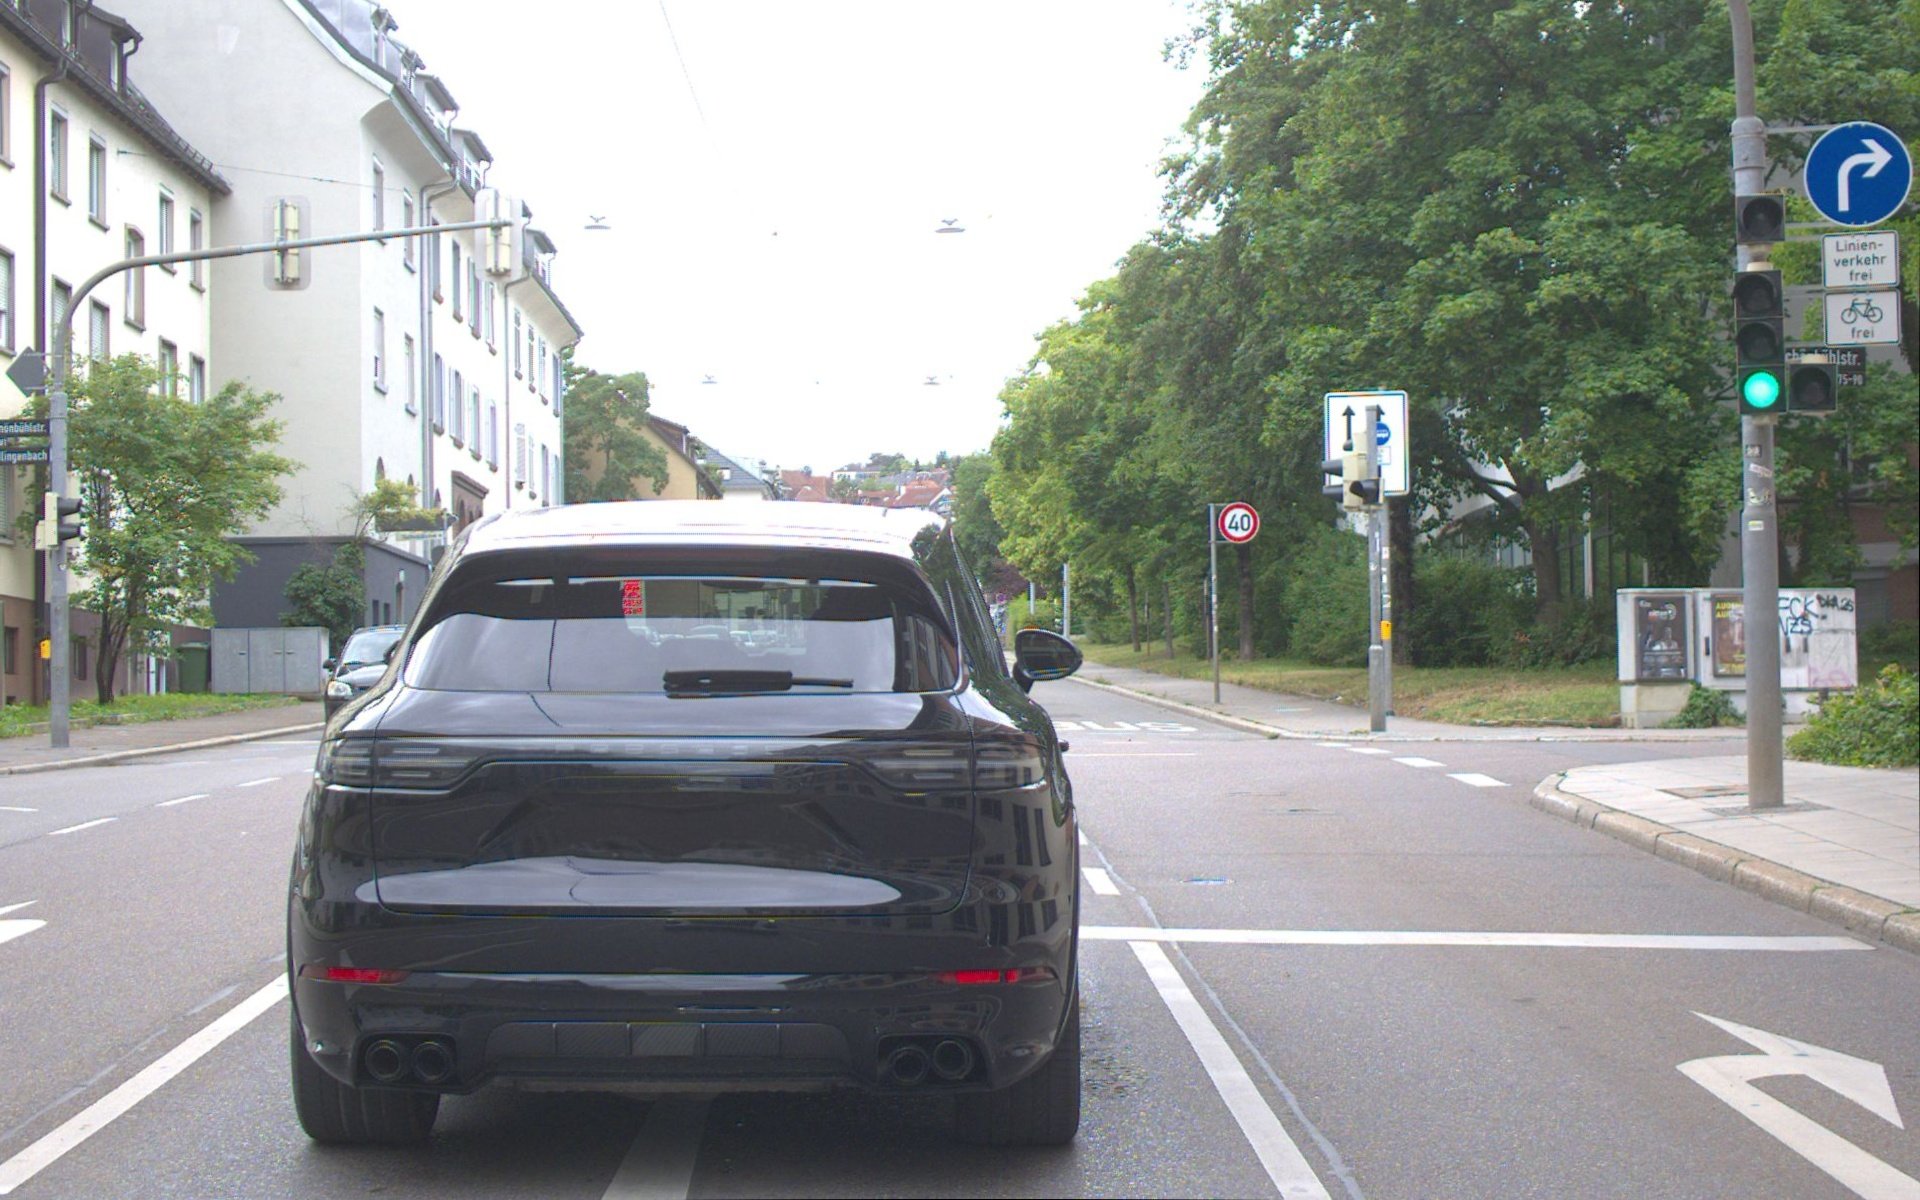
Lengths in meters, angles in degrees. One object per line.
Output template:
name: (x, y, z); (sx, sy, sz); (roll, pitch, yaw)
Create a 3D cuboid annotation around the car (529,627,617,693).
car: (-8.660, 1.325, 77.112); (1.670, 1.357, 4.000); (0, 1, -2)

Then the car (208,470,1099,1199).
car: (-0.716, 0.544, 9.785); (1.993, 1.691, 4.000); (1, 1, -1)

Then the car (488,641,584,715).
car: (-8.573, 1.557, 69.703); (1.669, 1.357, 4.001); (0, 1, -3)

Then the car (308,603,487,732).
car: (-7.430, 0.863, 45.724); (1.664, 1.514, 3.740); (-4, 0, 0)
